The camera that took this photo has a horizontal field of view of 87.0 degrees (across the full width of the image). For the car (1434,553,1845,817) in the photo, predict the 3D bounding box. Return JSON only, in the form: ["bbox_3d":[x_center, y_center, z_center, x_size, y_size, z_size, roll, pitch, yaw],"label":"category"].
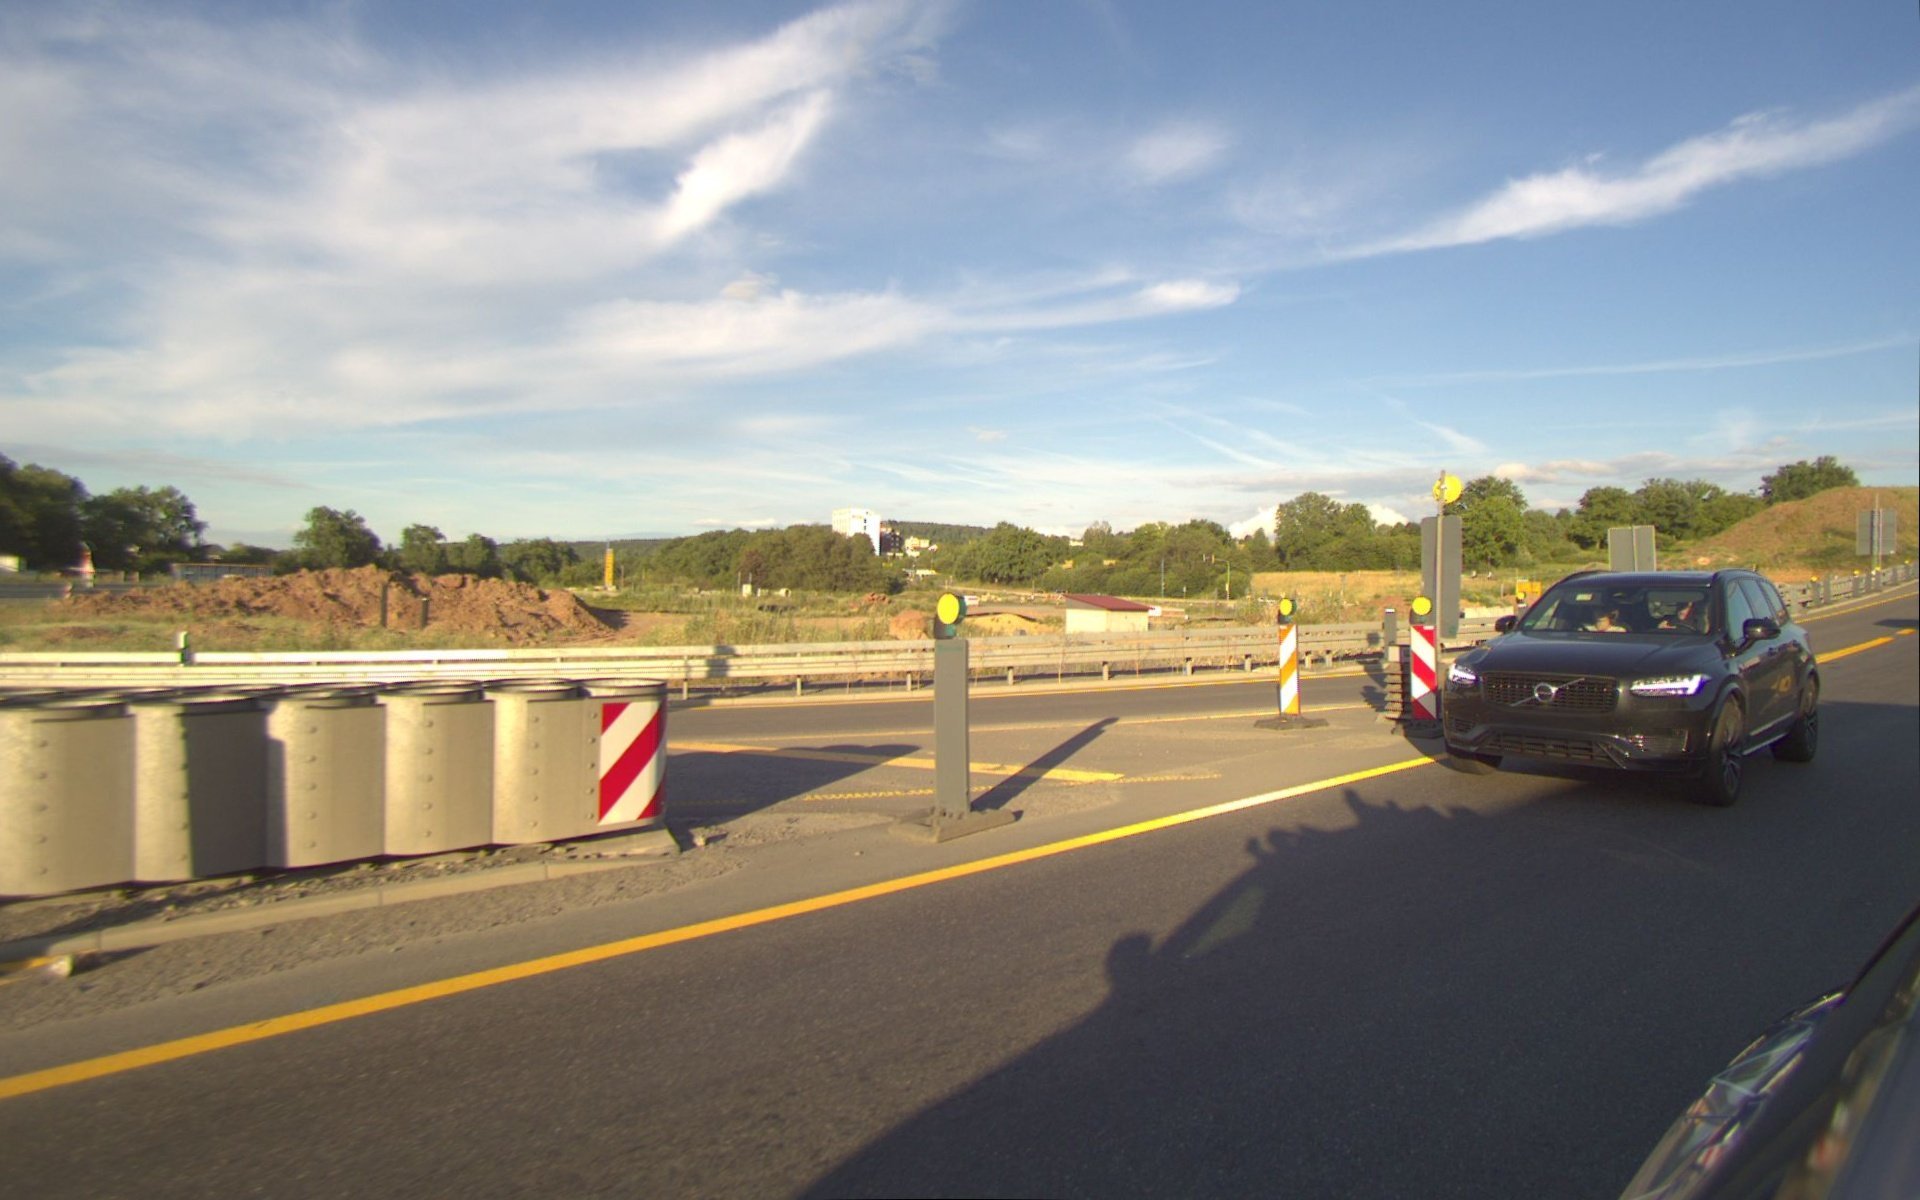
[{"bbox_3d":[6.206,0.541,8.976,4.803,1.735,1.900,0,0,-42],"label":"car"}]
